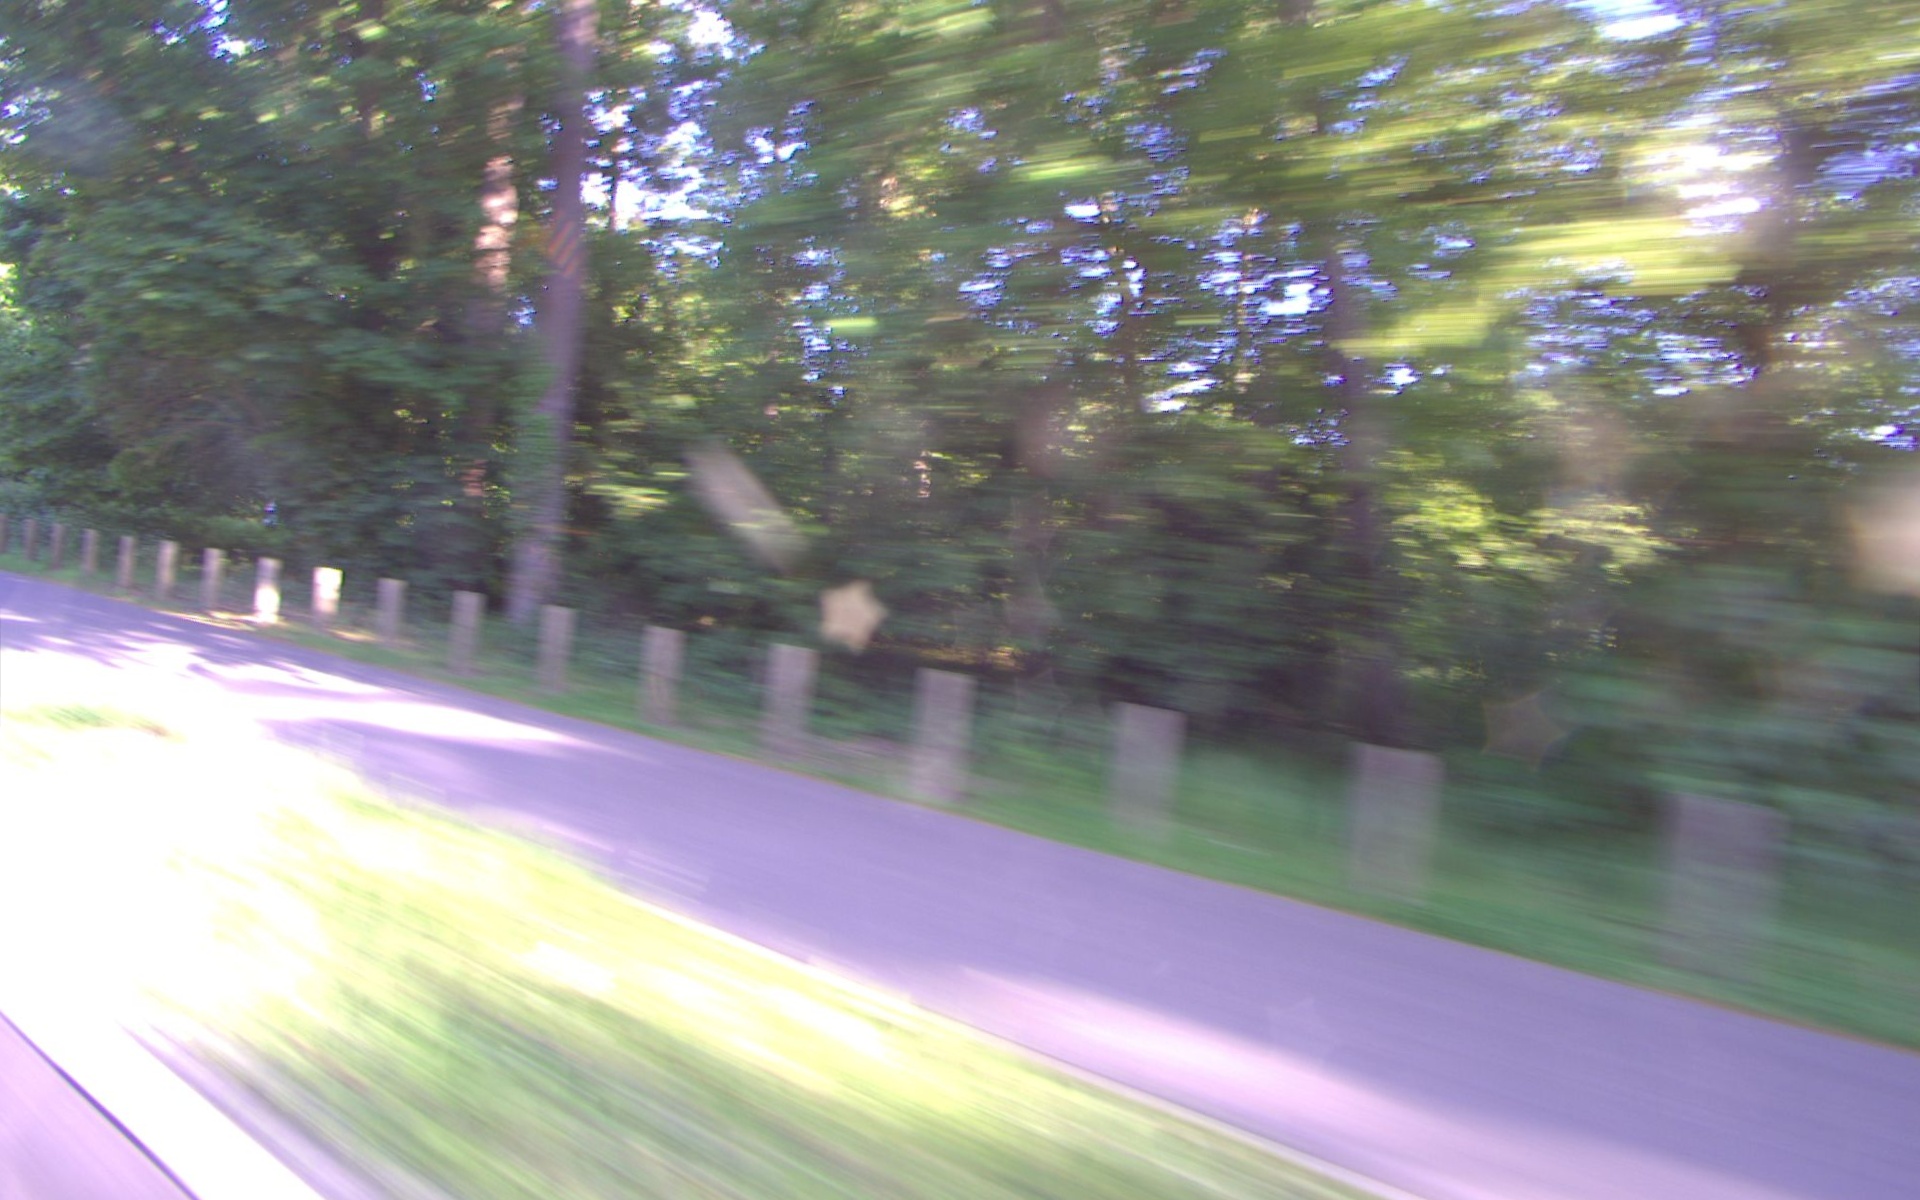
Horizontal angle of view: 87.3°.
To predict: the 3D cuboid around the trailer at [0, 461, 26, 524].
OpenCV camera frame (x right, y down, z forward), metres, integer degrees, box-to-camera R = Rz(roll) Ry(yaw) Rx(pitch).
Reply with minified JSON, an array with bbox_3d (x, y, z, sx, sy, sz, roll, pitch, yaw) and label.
[{"bbox_3d":[-34.210,-3.888,33.348,4.164,2.047,1.992,7,0,-18],"label":"trailer"}]
